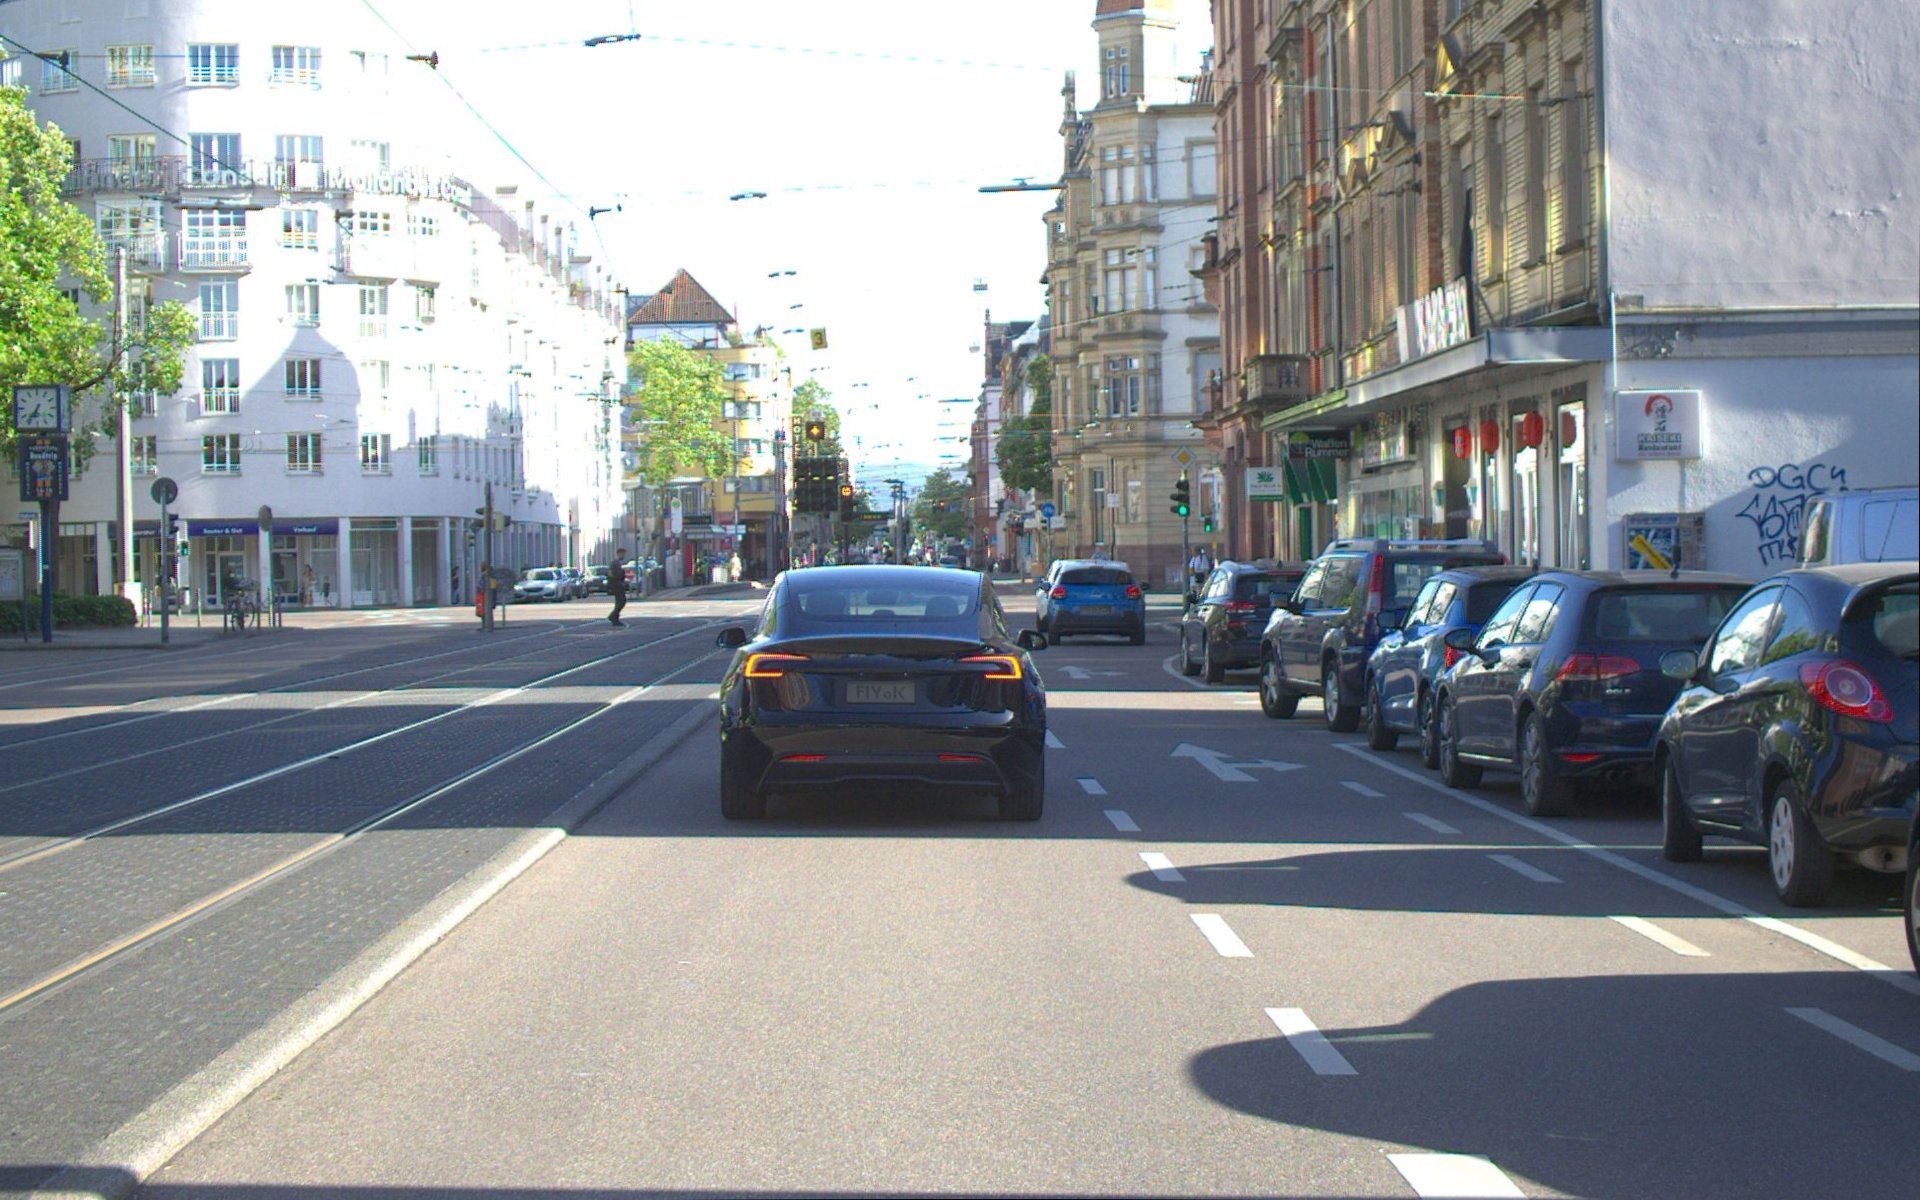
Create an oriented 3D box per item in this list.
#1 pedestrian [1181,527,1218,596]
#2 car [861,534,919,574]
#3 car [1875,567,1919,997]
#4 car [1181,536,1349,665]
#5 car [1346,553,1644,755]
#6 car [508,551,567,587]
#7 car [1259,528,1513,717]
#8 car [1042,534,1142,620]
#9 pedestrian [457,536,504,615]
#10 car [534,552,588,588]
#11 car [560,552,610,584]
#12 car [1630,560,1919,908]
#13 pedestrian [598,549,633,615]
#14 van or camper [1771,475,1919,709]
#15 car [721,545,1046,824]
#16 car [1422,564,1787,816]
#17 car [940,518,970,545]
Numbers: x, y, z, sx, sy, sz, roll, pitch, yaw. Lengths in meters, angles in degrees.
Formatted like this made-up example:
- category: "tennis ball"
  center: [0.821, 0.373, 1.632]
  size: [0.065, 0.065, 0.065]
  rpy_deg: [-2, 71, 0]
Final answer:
- category: "pedestrian"
  center: [5.683, -0.911, 81.589]
  size: [0.748, 1.611, 0.706]
  rpy_deg: [-1, 1, -3]
- category: "car"
  center: [-2.736, -1.767, 133.827]
  size: [1.993, 1.520, 4.001]
  rpy_deg: [1, 0, -5]
- category: "car"
  center: [4.148, 0.664, 9.914]
  size: [1.710, 1.452, 4.551]
  rpy_deg: [0, 1, -1]
- category: "car"
  center: [3.716, -0.026, 42.392]
  size: [1.715, 1.467, 3.720]
  rpy_deg: [-1, 1, 0]
- category: "car"
  center: [4.038, 0.362, 26.479]
  size: [1.578, 1.439, 3.914]
  rpy_deg: [0, 1, -2]
- category: "car"
  center: [-17.387, -1.294, 141.608]
  size: [1.993, 1.363, 4.000]
  rpy_deg: [-1, 1, -1]
- category: "car"
  center: [3.846, 0.167, 31.670]
  size: [1.829, 1.622, 4.095]
  rpy_deg: [0, 1, 0]
- category: "car"
  center: [2.312, -0.427, 60.800]
  size: [1.593, 1.428, 3.686]
  rpy_deg: [-1, 1, 0]
- category: "pedestrian"
  center: [-10.566, -0.544, 75.806]
  size: [0.845, 1.689, 0.796]
  rpy_deg: [1, 2, 6]
- category: "car"
  center: [-18.348, -1.399, 158.223]
  size: [1.993, 1.569, 4.000]
  rpy_deg: [-1, 1, -1]
- category: "car"
  center: [-18.239, -1.572, 167.345]
  size: [1.993, 1.490, 4.000]
  rpy_deg: [-1, 1, -1]
- category: "car"
  center: [4.226, 0.540, 15.986]
  size: [1.578, 1.442, 3.309]
  rpy_deg: [0, 1, 0]
- category: "pedestrian"
  center: [-7.884, -0.422, 78.698]
  size: [0.702, 1.496, 0.795]
  rpy_deg: [0, 1, 0]
- category: "van or camper"
  center: [10.389, -0.209, 33.088]
  size: [4.644, 2.129, 1.987]
  rpy_deg: [-3, 1, 3]
- category: "car"
  center: [-0.470, 0.421, 20.119]
  size: [1.719, 1.400, 3.710]
  rpy_deg: [0, 2, -2]
- category: "car"
  center: [3.928, 0.492, 21.486]
  size: [1.461, 1.427, 3.814]
  rpy_deg: [0, 1, -2]
- category: "car"
  center: [-0.296, -4.370, 219.262]
  size: [1.846, 1.587, 4.000]
  rpy_deg: [-2, 2, 0]
